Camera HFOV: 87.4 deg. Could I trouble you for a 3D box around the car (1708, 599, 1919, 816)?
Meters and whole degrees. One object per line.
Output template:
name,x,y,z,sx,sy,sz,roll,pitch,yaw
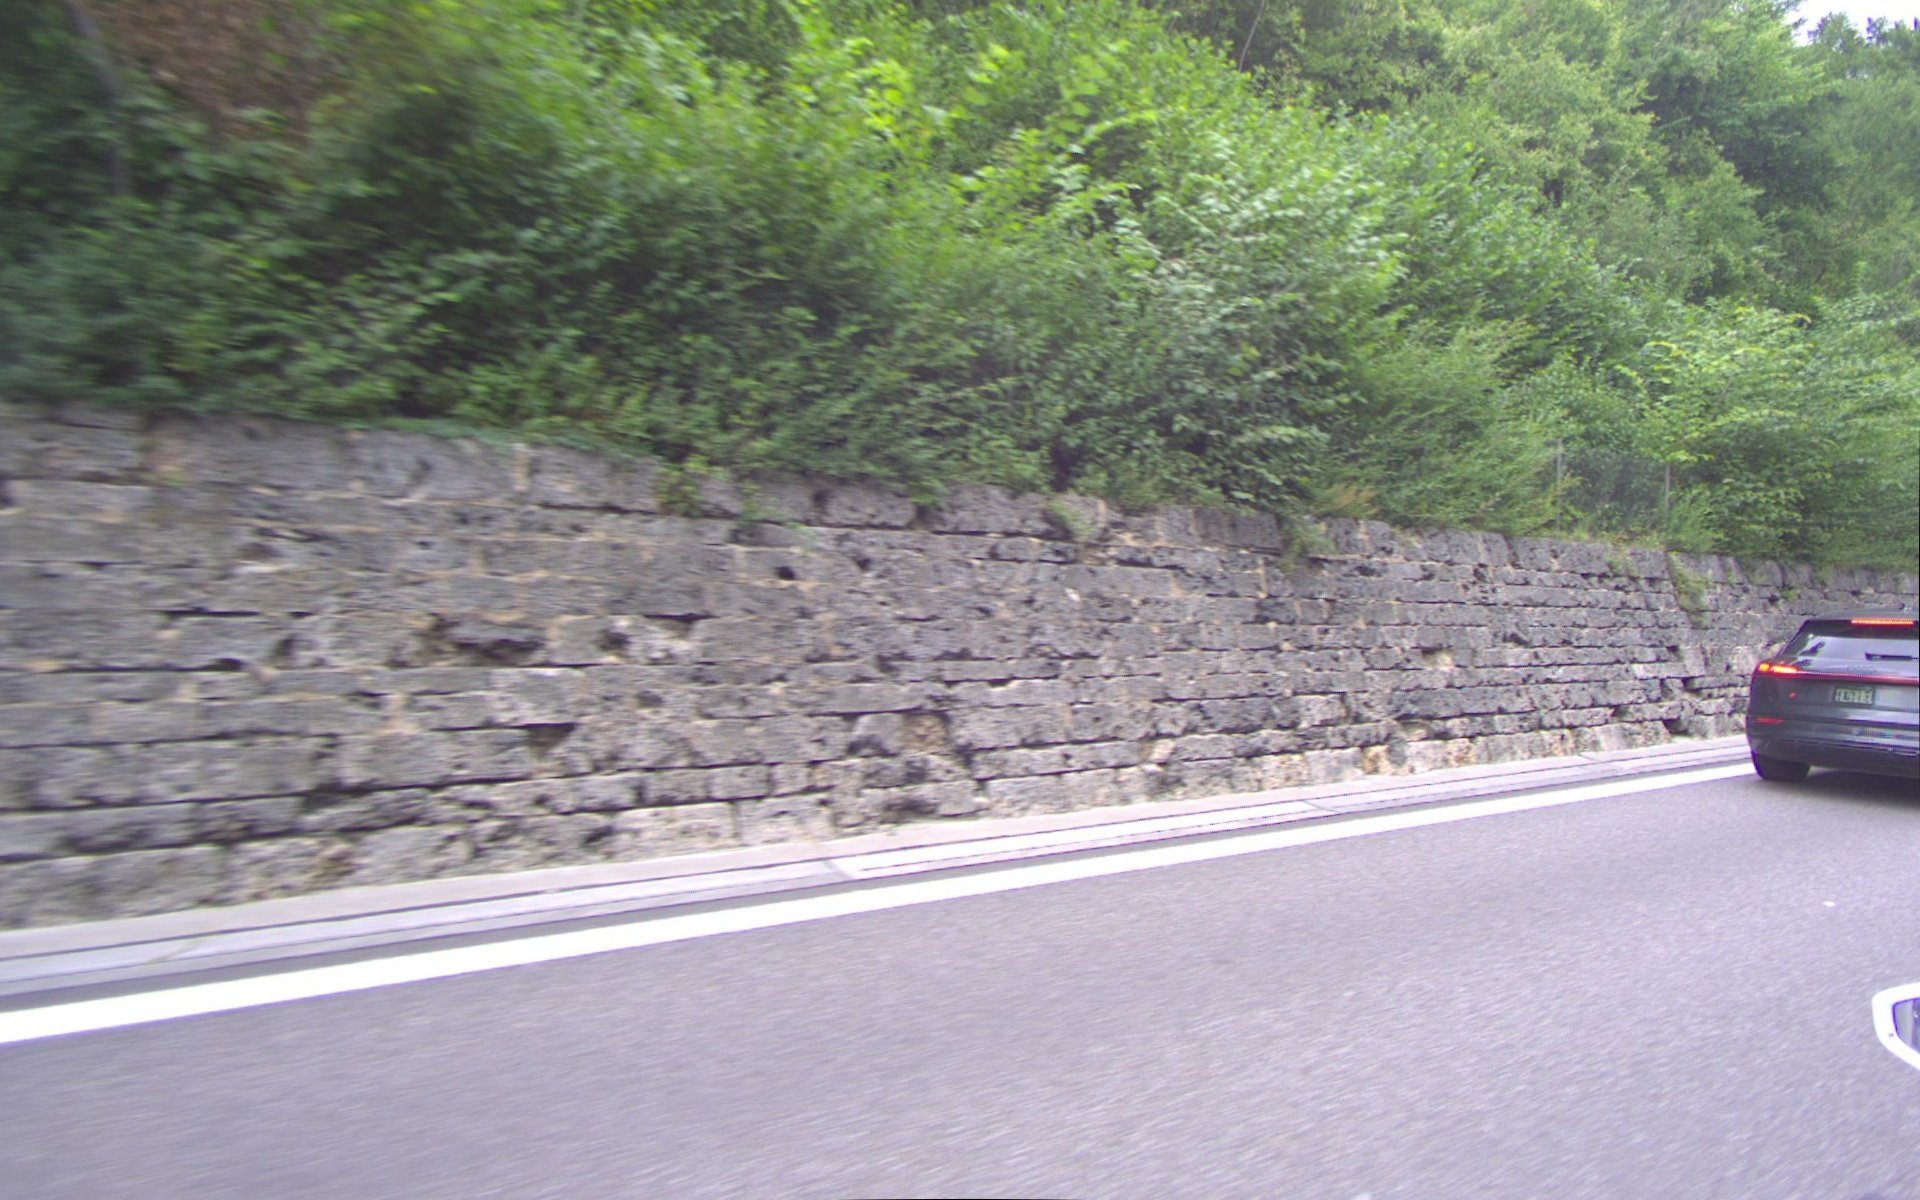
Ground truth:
car,9.212,0.869,9.308,4.952,1.654,1.983,1,-1,-32
